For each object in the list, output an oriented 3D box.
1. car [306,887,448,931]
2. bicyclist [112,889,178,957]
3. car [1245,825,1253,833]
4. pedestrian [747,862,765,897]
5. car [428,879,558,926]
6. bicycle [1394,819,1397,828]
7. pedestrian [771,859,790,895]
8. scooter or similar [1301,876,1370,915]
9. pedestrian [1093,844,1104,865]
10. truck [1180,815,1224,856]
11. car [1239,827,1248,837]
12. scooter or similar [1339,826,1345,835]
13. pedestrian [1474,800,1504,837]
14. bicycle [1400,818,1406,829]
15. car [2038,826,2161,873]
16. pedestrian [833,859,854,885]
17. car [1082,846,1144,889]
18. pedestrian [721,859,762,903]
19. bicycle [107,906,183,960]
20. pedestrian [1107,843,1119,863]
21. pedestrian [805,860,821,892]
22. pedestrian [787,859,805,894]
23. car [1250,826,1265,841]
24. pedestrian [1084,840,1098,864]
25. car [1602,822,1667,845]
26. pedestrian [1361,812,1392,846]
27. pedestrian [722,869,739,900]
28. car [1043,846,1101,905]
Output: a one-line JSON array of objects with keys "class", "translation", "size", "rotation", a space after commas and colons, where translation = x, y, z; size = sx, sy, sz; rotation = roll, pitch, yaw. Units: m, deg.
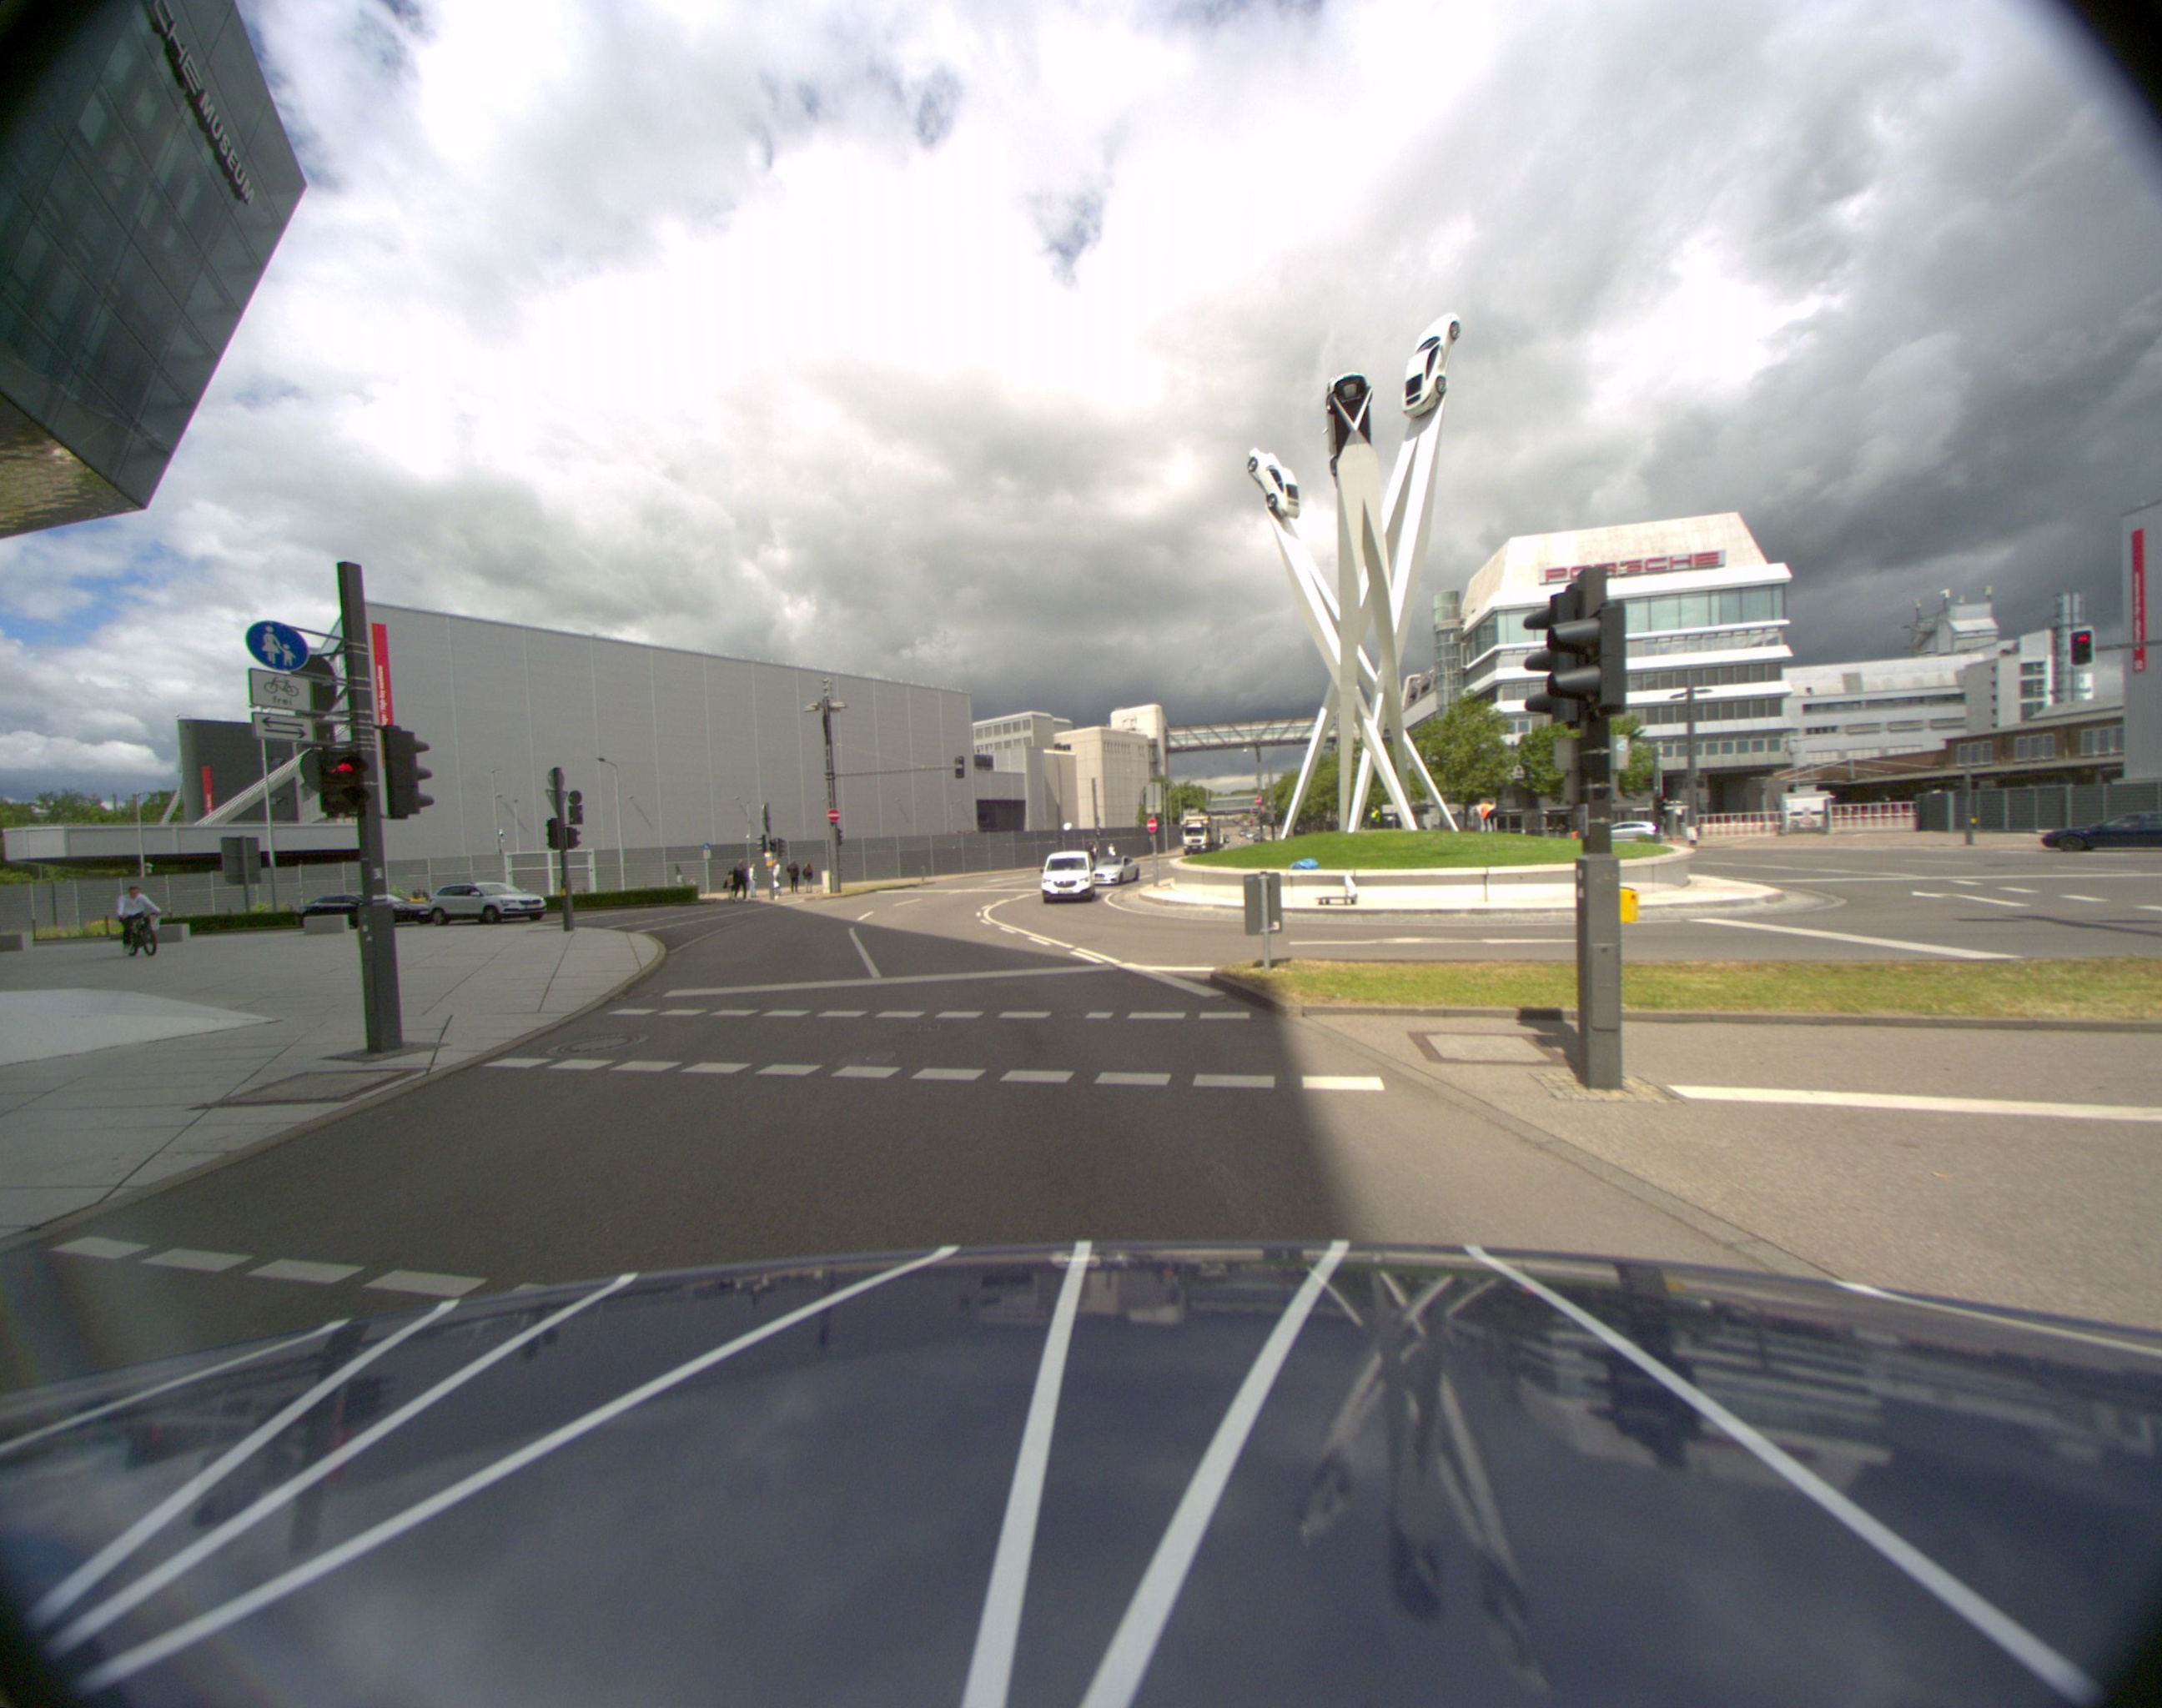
[{"class": "car", "translation": [-27.853, 2.171, 30.123], "size": [4.153, 1.375, 1.839], "rotation": [-3, 1, 8]}, {"class": "bicyclist", "translation": [-24.381, 1.777, 19.787], "size": [0.934, 1.644, 0.773], "rotation": [-3, 3, 27]}, {"class": "car", "translation": [50.127, -7.458, 226.706], "size": [1.870, 1.945, 4.713], "rotation": [-4, 3, 12]}, {"class": "pedestrian", "translation": [-16.881, 1.304, 39.431], "size": [0.621, 1.750, 0.605], "rotation": [-6, 3, -33]}, {"class": "car", "translation": [-22.154, 1.797, 28.668], "size": [3.992, 1.541, 1.840], "rotation": [-1, 3, 17]}, {"class": "bicycle", "translation": [35.862, -3.517, 86.666], "size": [0.297, 1.000, 1.253], "rotation": [-3, 3, 21]}, {"class": "pedestrian", "translation": [-15.795, 1.214, 39.921], "size": [0.621, 1.837, 0.671], "rotation": [-6, 3, -34]}, {"class": "scooter or similar", "translation": [6.040, 0.970, 18.059], "size": [1.258, 0.843, 0.910], "rotation": [-2, 2, 43]}, {"class": "pedestrian", "translation": [1.444, 0.038, 62.379], "size": [0.664, 1.607, 0.464], "rotation": [-6, 3, -30]}, {"class": "truck", "translation": [12.568, -1.959, 77.884], "size": [2.709, 3.864, 10.751], "rotation": [-1, 2, 18]}, {"class": "car", "translation": [37.841, -5.162, 177.357], "size": [1.870, 1.945, 4.713], "rotation": [-4, 3, 12]}, {"class": "scooter or similar", "translation": [40.553, -3.639, 118.091], "size": [0.524, 1.228, 1.318], "rotation": [-6, 1, 13]}, {"class": "pedestrian", "translation": [16.275, -1.423, 30.309], "size": [0.853, 1.400, 0.966], "rotation": [6, 8, 33]}, {"class": "bicycle", "translation": [34.098, -3.198, 80.463], "size": [0.297, 1.125, 1.485], "rotation": [-3, 3, 14]}, {"class": "car", "translation": [38.180, -0.174, 27.589], "size": [1.805, 1.548, 3.949], "rotation": [-5, 3, -25]}, {"class": "pedestrian", "translation": [-15.634, 1.178, 50.008], "size": [0.693, 1.578, 0.922], "rotation": [-2, 4, 43]}, {"class": "car", "translation": [1.730, 0.642, 39.433], "size": [1.869, 1.944, 4.717], "rotation": [-2, 1, 19]}, {"class": "pedestrian", "translation": [-16.059, 1.260, 35.936], "size": [0.954, 1.973, 1.383], "rotation": [-3, 1, 27]}, {"class": "bicycle", "translation": [-24.376, 2.044, 19.778], "size": [1.921, 1.267, 0.782], "rotation": [-3, 3, 28]}, {"class": "pedestrian", "translation": [2.744, -0.106, 64.906], "size": [0.660, 1.599, 0.824], "rotation": [-3, 3, 22]}, {"class": "pedestrian", "translation": [-14.395, 1.182, 40.822], "size": [0.673, 1.629, 0.619], "rotation": [-5, 3, -16]}, {"class": "pedestrian", "translation": [-15.164, 1.178, 40.407], "size": [0.621, 1.785, 0.671], "rotation": [-6, 3, -32]}, {"class": "car", "translation": [26.513, -3.071, 114.343], "size": [1.870, 1.945, 4.713], "rotation": [-4, 3, 12]}, {"class": "pedestrian", "translation": [0.807, -0.147, 61.993], "size": [0.794, 1.856, 0.660], "rotation": [-6, 3, -28]}, {"class": "car", "translation": [40.985, -1.504, 56.305], "size": [1.815, 1.474, 3.599], "rotation": [-6, 3, -41]}, {"class": "pedestrian", "translation": [16.135, -1.386, 41.555], "size": [1.285, 1.807, 0.986], "rotation": [-1, 2, -5]}, {"class": "pedestrian", "translation": [-17.396, 1.503, 37.757], "size": [0.583, 1.488, 0.770], "rotation": [-5, 3, -21]}, {"class": "car", "translation": [-0.258, 0.753, 29.011], "size": [1.824, 2.002, 4.392], "rotation": [-2, 1, 4]}]
